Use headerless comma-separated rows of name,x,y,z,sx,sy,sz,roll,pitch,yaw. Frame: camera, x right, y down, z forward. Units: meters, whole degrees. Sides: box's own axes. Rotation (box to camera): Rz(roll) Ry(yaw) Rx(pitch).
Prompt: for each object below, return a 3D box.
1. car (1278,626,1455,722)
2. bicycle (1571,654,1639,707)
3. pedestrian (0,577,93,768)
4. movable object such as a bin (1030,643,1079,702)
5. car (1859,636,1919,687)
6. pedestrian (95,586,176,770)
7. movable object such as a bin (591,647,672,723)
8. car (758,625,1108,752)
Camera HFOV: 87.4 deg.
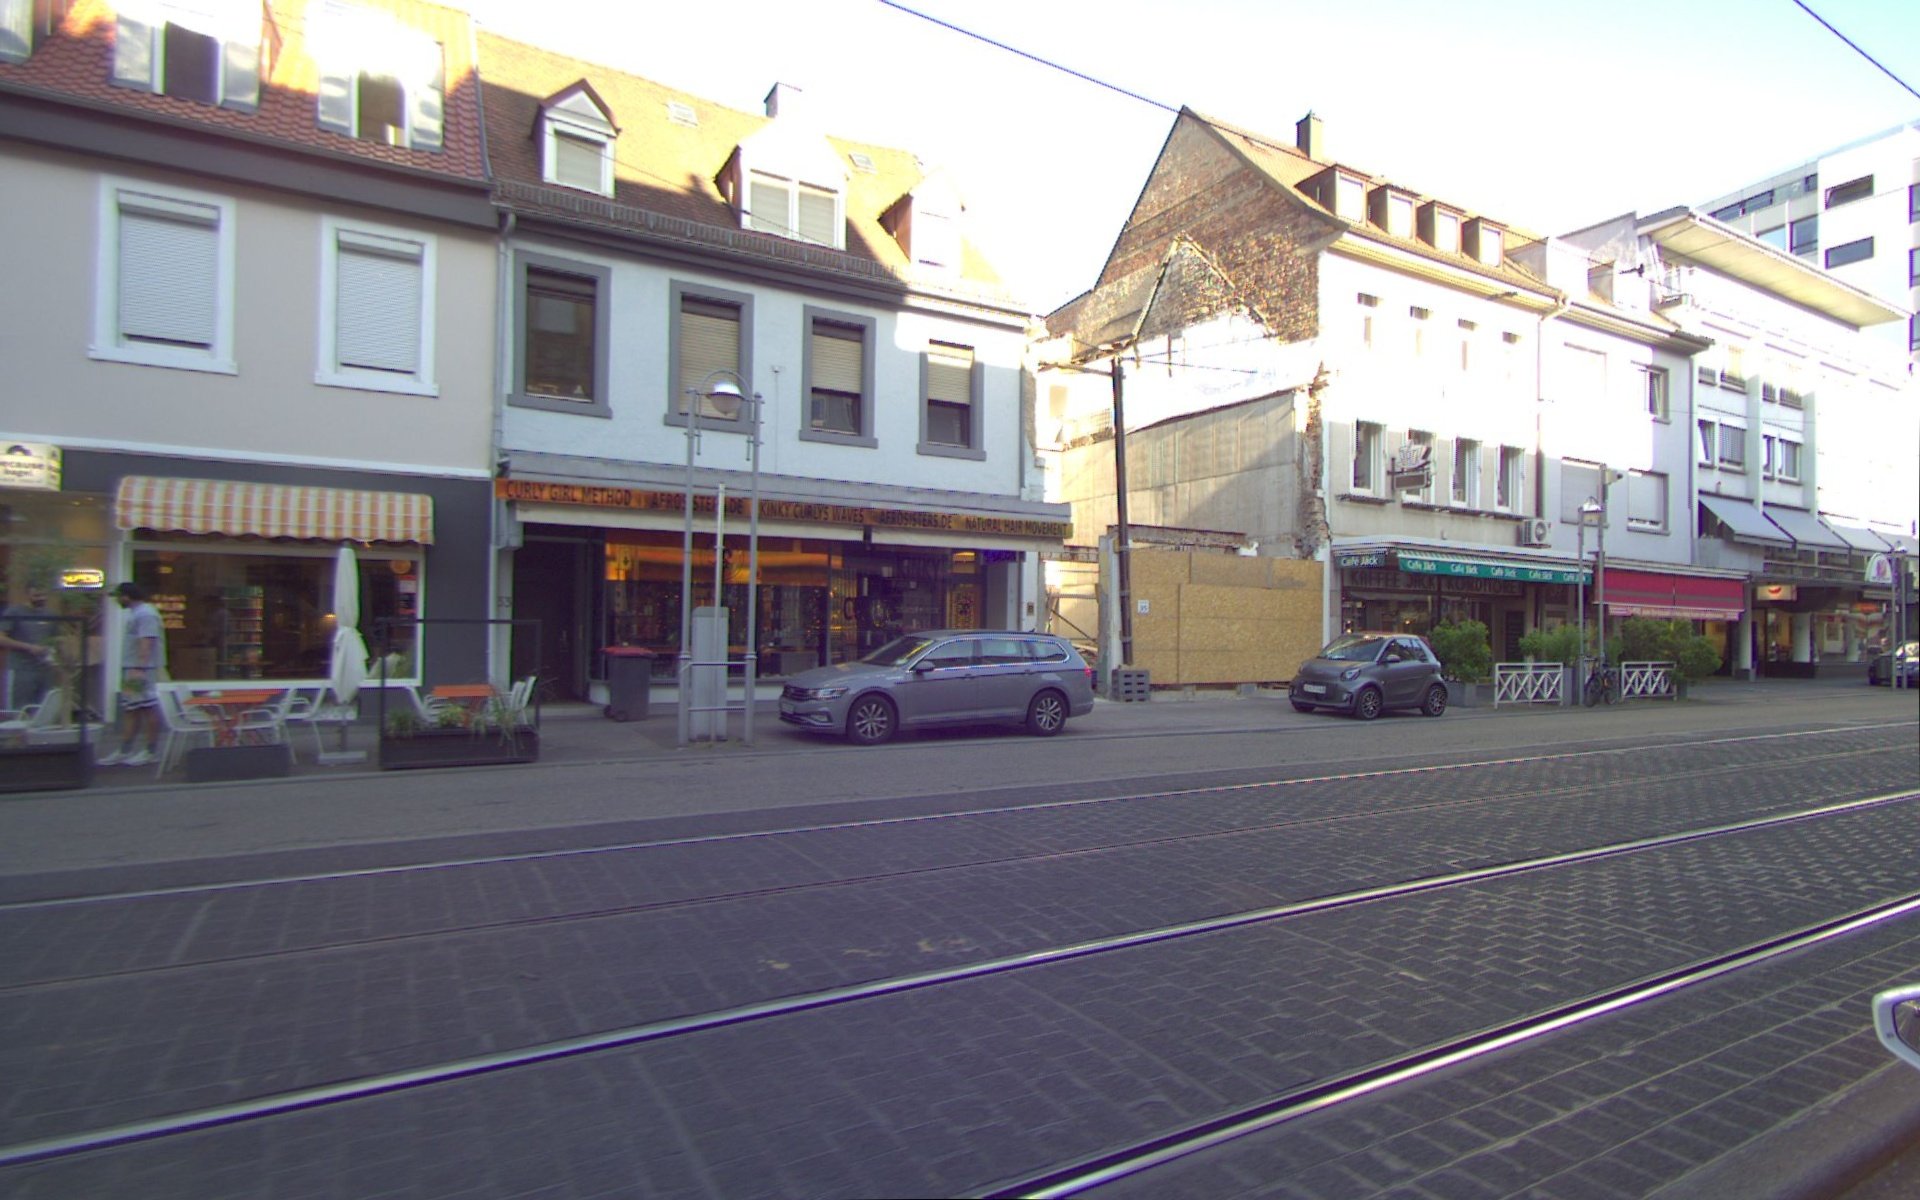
car,7.673,1.346,18.959,2.857,1.625,1.689,2,0,-30
bicycle,14.272,1.765,22.219,1.696,1.105,0.516,2,0,-30
pedestrian,-9.444,0.711,10.256,0.570,1.874,0.658,2,0,0
movable object such as a bin,1.866,1.436,19.945,0.689,1.108,0.657,2,0,-30
car,32.198,2.040,33.595,4.794,1.544,1.729,2,0,-30
pedestrian,-8.354,0.759,10.202,0.576,1.785,0.651,2,0,-38
movable object such as a bin,-4.900,1.242,14.983,1.018,1.077,0.697,1,-1,-30
car,-0.315,1.172,14.332,4.707,1.534,1.808,2,-1,-30
